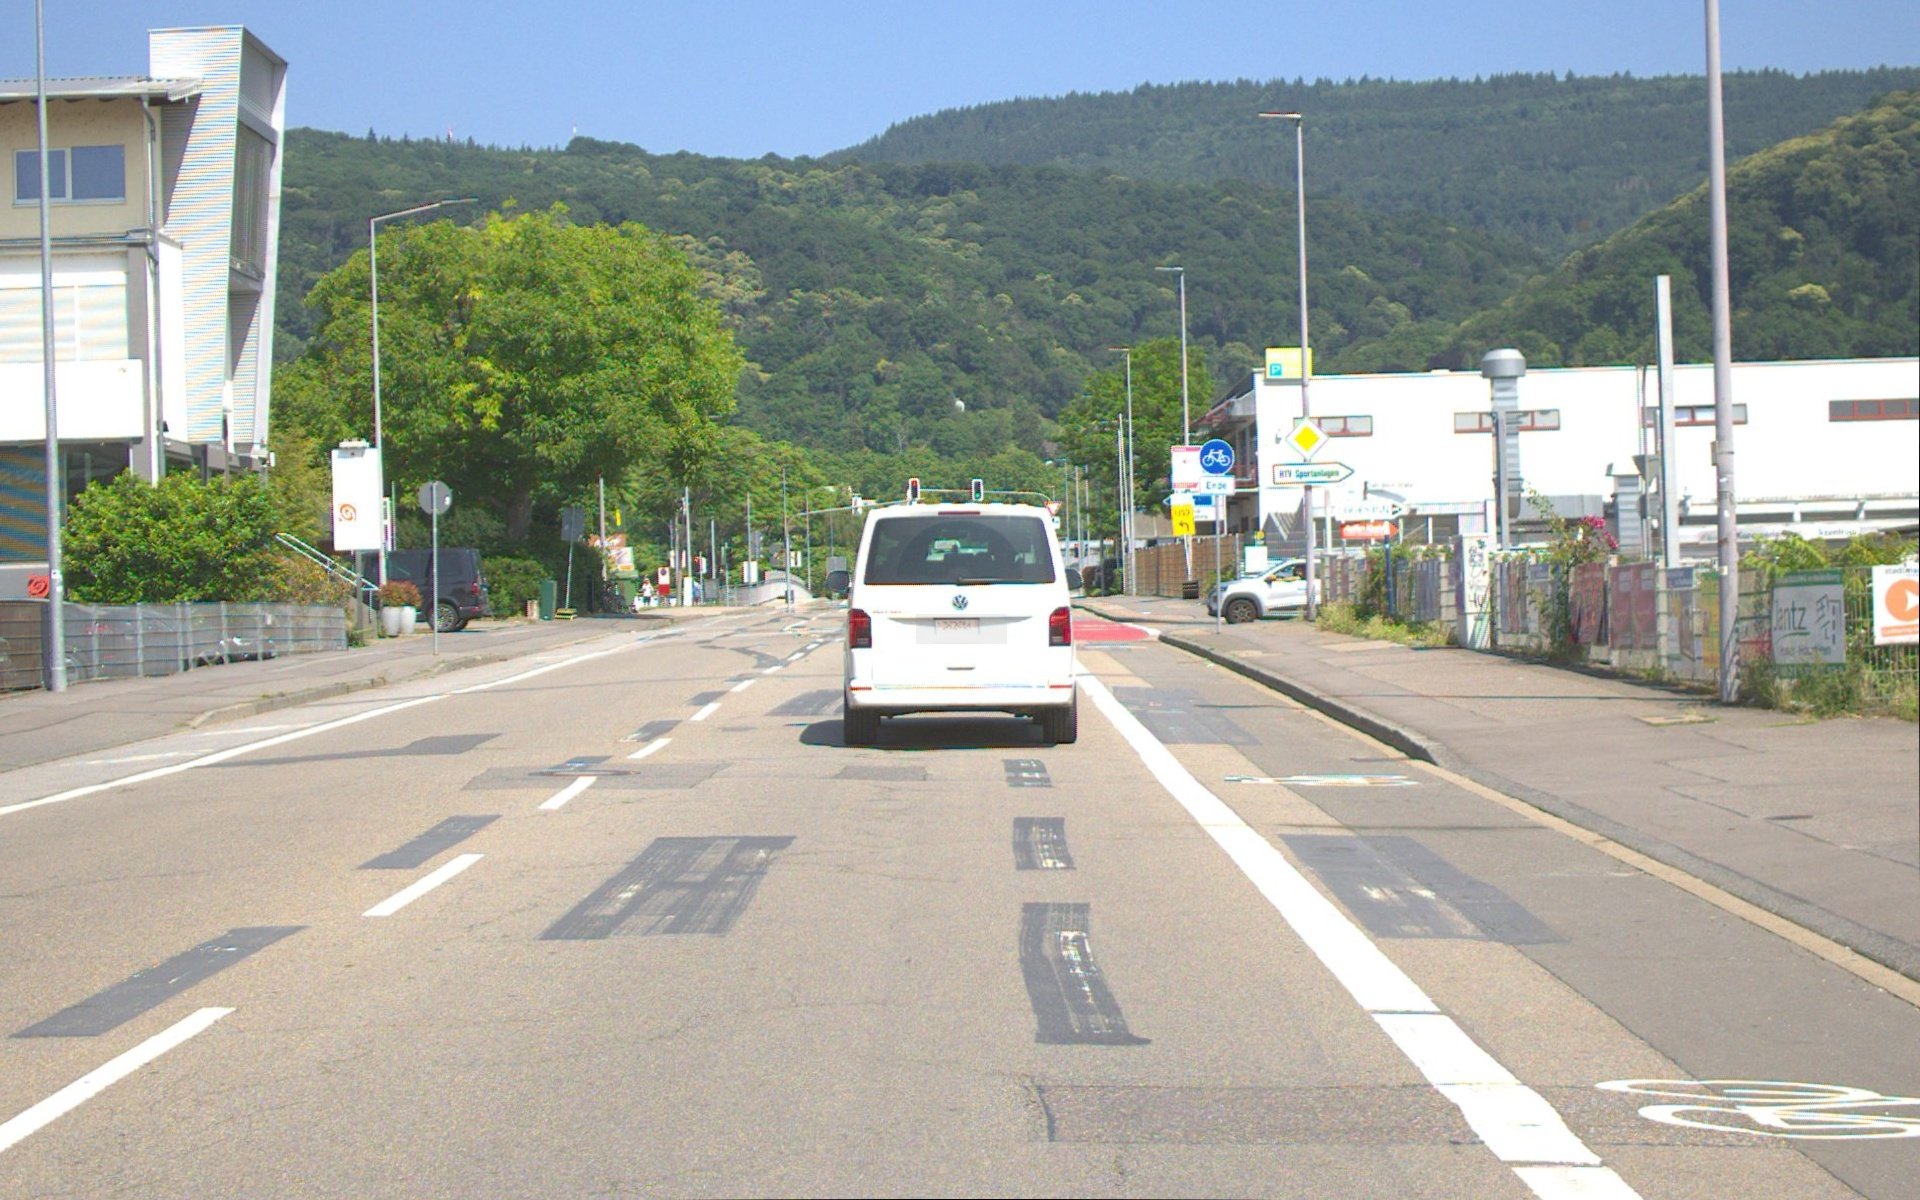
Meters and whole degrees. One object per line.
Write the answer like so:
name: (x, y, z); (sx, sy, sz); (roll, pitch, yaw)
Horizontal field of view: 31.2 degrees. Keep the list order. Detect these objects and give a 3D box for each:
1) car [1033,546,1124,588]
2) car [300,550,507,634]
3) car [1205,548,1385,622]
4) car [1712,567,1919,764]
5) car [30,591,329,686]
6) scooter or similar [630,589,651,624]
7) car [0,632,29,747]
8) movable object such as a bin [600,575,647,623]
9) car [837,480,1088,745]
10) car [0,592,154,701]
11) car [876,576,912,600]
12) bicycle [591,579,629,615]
car: (5.458, -1.501, 158.464); (3.988, 1.769, 2.000); (-2, 0, 7)
car: (-12.901, -0.188, 79.891); (4.565, 1.859, 2.093); (-1, 0, -5)
car: (7.020, -0.314, 72.342); (3.665, 1.479, 1.728); (-1, 1, 3)
car: (9.151, 0.591, 29.176); (5.043, 1.616, 2.018); (0, -4, 43)
car: (-13.629, 0.665, 60.217); (4.739, 1.476, 2.048); (-2, 0, -1)
scooter or similar: (-10.393, 0.217, 111.826); (0.646, 1.124, 1.623); (1, 0, -6)
car: (-14.425, 1.099, 44.937); (3.986, 1.485, 1.859); (2, -2, -3)
movable object such as a bin: (-11.504, -0.033, 117.503); (1.448, 1.585, 1.307); (-2, 0, -8)
car: (-0.037, 0.087, 29.305); (1.934, 2.052, 4.544); (1, 0, -1)
car: (-14.606, 0.728, 52.185); (4.295, 1.553, 1.995); (-2, 0, -3)
car: (-3.912, -0.704, 204.502); (1.993, 1.365, 4.327); (-2, 0, 0)
bicycle: (-10.995, -0.094, 107.983); (1.026, 1.114, 2.766); (1, 0, -3)
